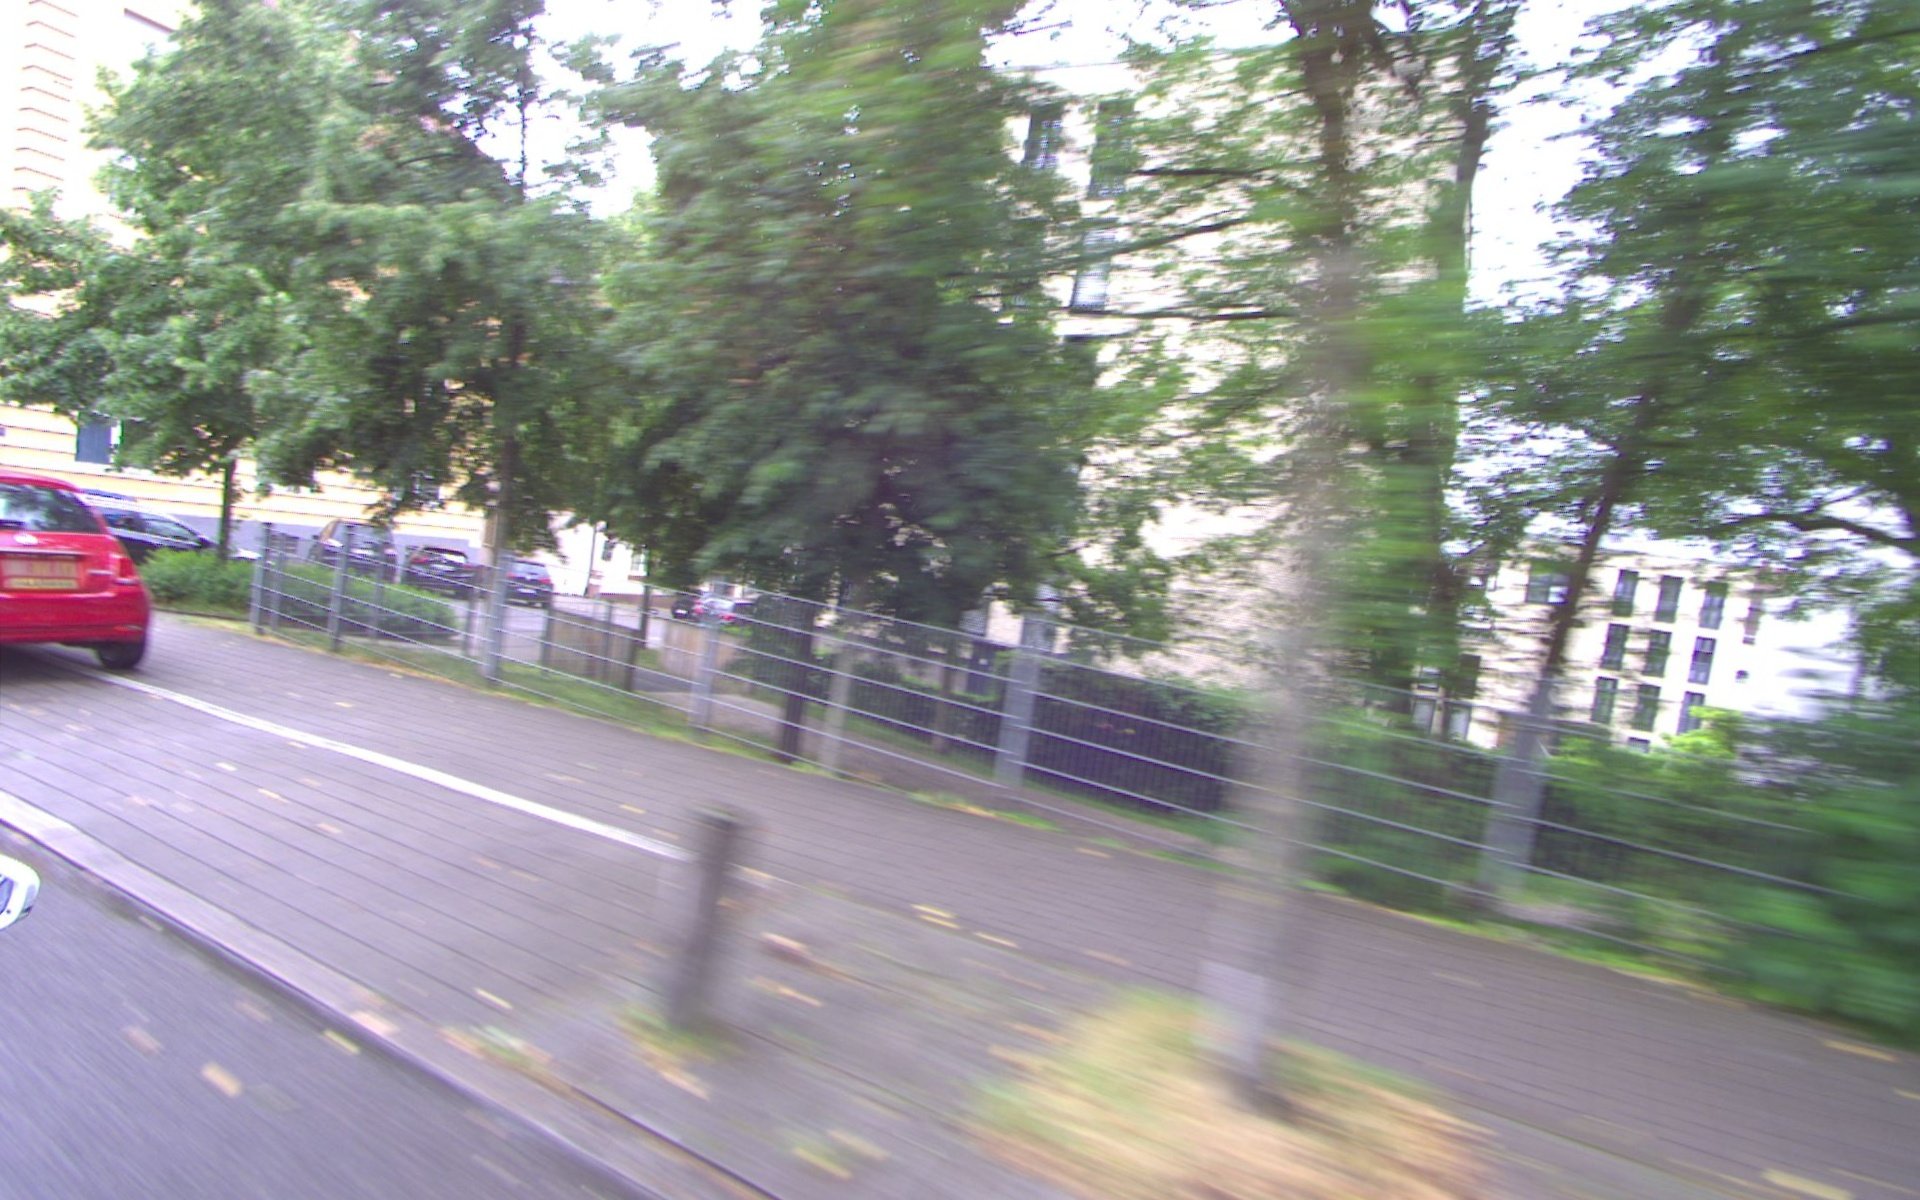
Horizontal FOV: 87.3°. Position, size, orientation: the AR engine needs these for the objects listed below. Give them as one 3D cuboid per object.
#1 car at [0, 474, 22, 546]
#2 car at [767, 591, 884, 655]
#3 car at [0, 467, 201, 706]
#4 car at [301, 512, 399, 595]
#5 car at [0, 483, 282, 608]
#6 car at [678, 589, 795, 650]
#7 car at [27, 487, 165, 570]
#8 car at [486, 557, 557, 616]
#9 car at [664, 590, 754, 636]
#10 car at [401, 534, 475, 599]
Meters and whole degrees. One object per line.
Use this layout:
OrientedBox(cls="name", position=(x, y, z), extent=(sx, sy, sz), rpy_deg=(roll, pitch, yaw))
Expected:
OrientedBox(cls="car", position=(-20.588, -1.882, 19.978), extent=(1.833, 1.489, 4.077), rpy_deg=(5, 3, -29))
OrientedBox(cls="car", position=(-4.920, 0.908, 37.349), extent=(1.934, 1.728, 4.334), rpy_deg=(11, 0, 28))
OrientedBox(cls="car", position=(-7.806, -0.281, 7.767), extent=(3.890, 1.522, 1.610), rpy_deg=(8, 3, 28))
OrientedBox(cls="car", position=(-16.815, -1.327, 27.639), extent=(1.695, 1.745, 4.491), rpy_deg=(8, 1, -37))
OrientedBox(cls="car", position=(-14.240, -0.903, 16.847), extent=(1.966, 1.516, 4.282), rpy_deg=(9, -1, 23))
OrientedBox(cls="car", position=(-7.206, 0.672, 32.720), extent=(1.746, 1.442, 3.528), rpy_deg=(11, 0, 25))
OrientedBox(cls="car", position=(-19.684, -1.574, 23.084), extent=(1.691, 1.509, 3.608), rpy_deg=(8, -2, -31))
OrientedBox(cls="car", position=(-14.161, -0.466, 32.399), extent=(1.688, 1.489, 3.584), rpy_deg=(5, 3, -29))
OrientedBox(cls="car", position=(-10.547, 0.566, 42.498), extent=(1.584, 1.404, 3.527), rpy_deg=(11, 0, 28))
OrientedBox(cls="car", position=(-15.648, -1.038, 30.121), extent=(1.691, 1.486, 3.584), rpy_deg=(10, 0, -29))
